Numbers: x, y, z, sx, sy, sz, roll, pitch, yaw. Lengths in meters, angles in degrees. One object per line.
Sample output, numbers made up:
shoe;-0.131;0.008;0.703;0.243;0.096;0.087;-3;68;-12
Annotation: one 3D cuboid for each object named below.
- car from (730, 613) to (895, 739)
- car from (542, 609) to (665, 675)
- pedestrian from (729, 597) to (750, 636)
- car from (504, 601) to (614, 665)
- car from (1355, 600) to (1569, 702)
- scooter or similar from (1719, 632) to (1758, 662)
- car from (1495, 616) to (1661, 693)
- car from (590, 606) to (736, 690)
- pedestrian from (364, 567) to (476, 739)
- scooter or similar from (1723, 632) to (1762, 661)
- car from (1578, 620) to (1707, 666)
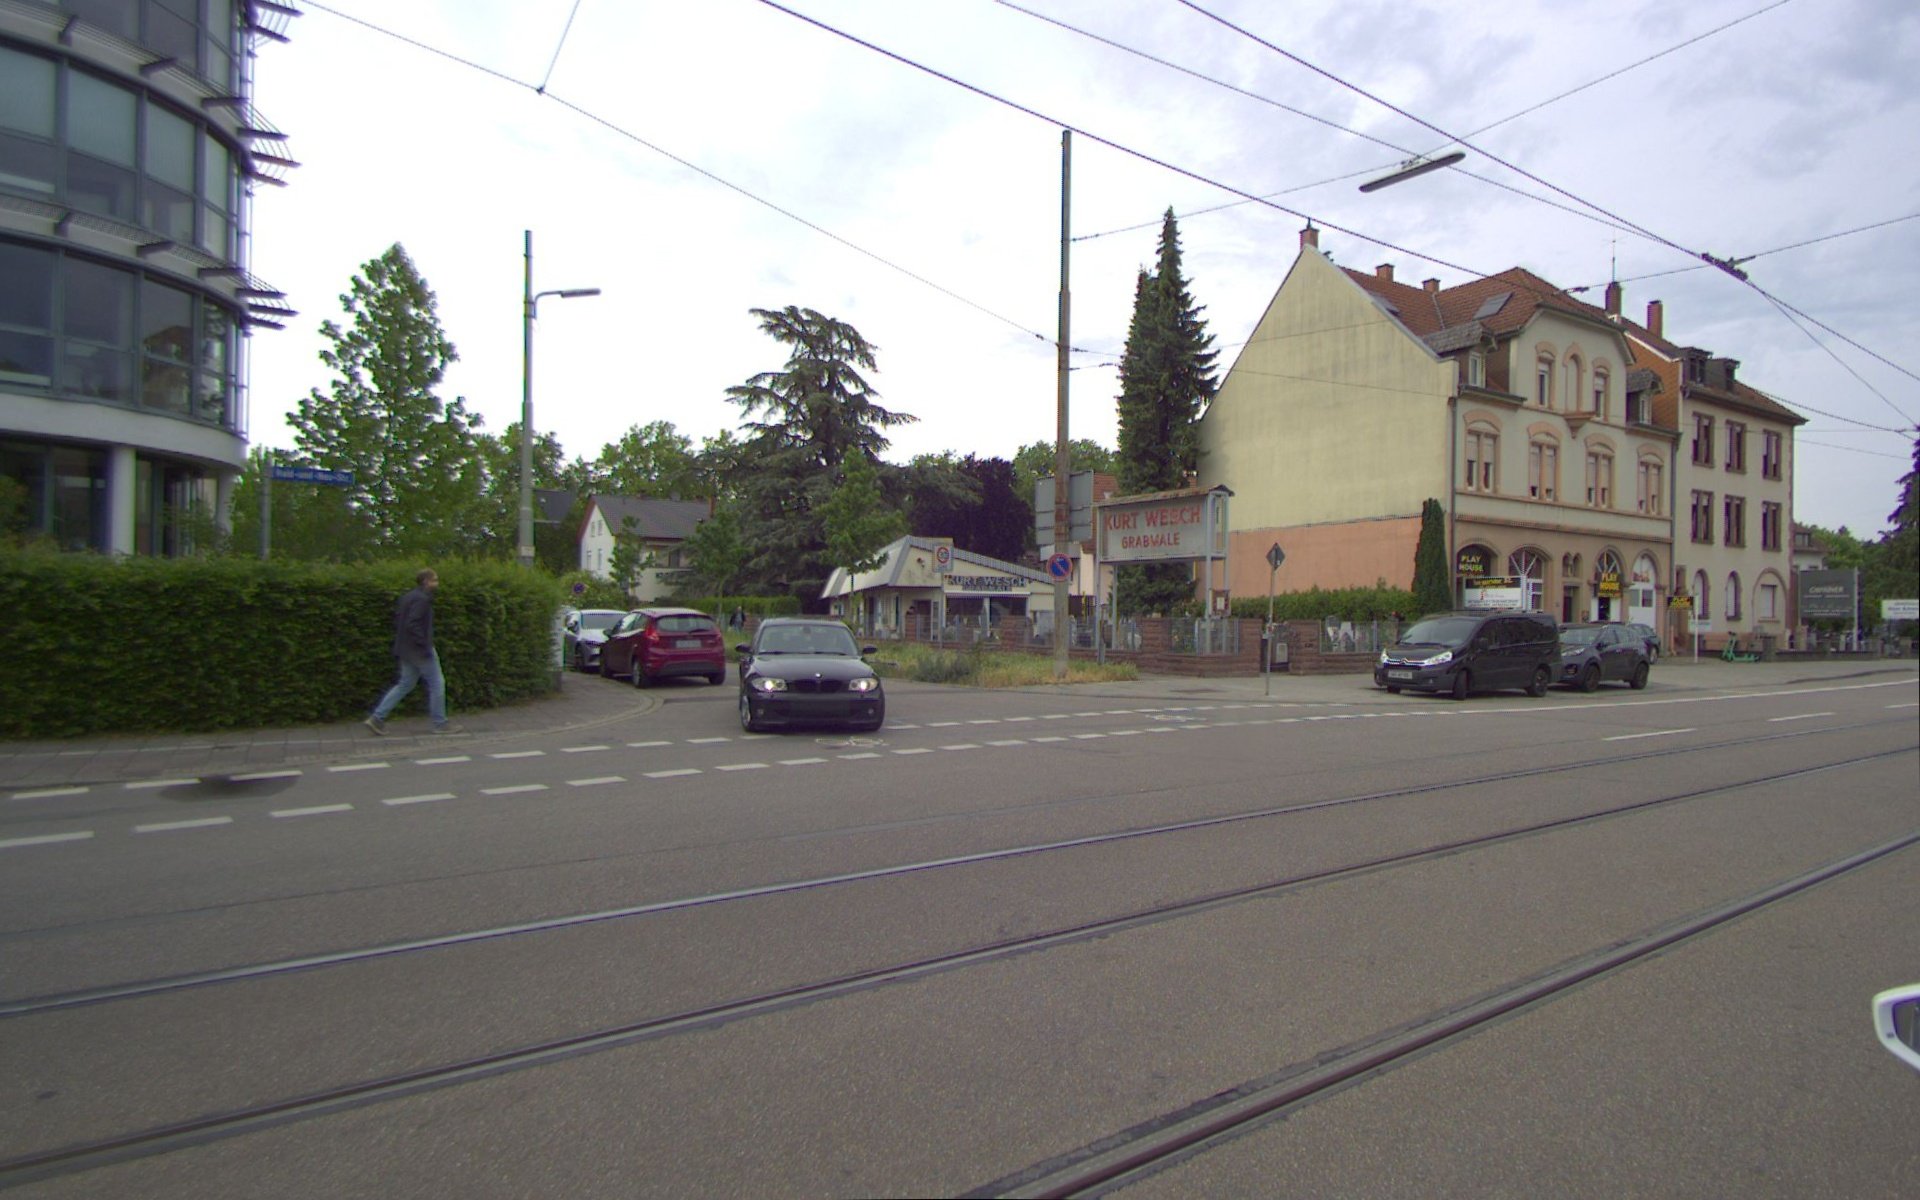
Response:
car;-2.151;0.915;13.662;1.758;1.387;4.100;2;0;-15
car;-8.511;0.941;23.808;1.761;1.367;4.009;2;-1;-34
pedestrian;-10.196;0.760;46.476;0.752;1.798;0.631;2;0;-28
car;-11.457;0.900;28.546;1.981;1.673;3.959;2;-1;-36
car;11.448;1.104;22.782;5.129;2.040;1.975;2;1;-33
scooter or similar;31.191;1.870;40.247;1.157;1.116;0.527;1;0;30
car;16.255;1.347;26.357;4.487;1.773;2.024;1;1;-34
car;-5.976;0.869;19.914;1.707;1.441;3.983;-1;0;-33
pedestrian;-6.117;0.583;11.385;1.047;1.849;0.800;2;0;-30
scooter or similar;31.791;1.891;40.829;1.157;1.116;0.527;1;0;30
car;24.025;1.500;35.313;4.848;1.512;1.983;2;-1;-32
